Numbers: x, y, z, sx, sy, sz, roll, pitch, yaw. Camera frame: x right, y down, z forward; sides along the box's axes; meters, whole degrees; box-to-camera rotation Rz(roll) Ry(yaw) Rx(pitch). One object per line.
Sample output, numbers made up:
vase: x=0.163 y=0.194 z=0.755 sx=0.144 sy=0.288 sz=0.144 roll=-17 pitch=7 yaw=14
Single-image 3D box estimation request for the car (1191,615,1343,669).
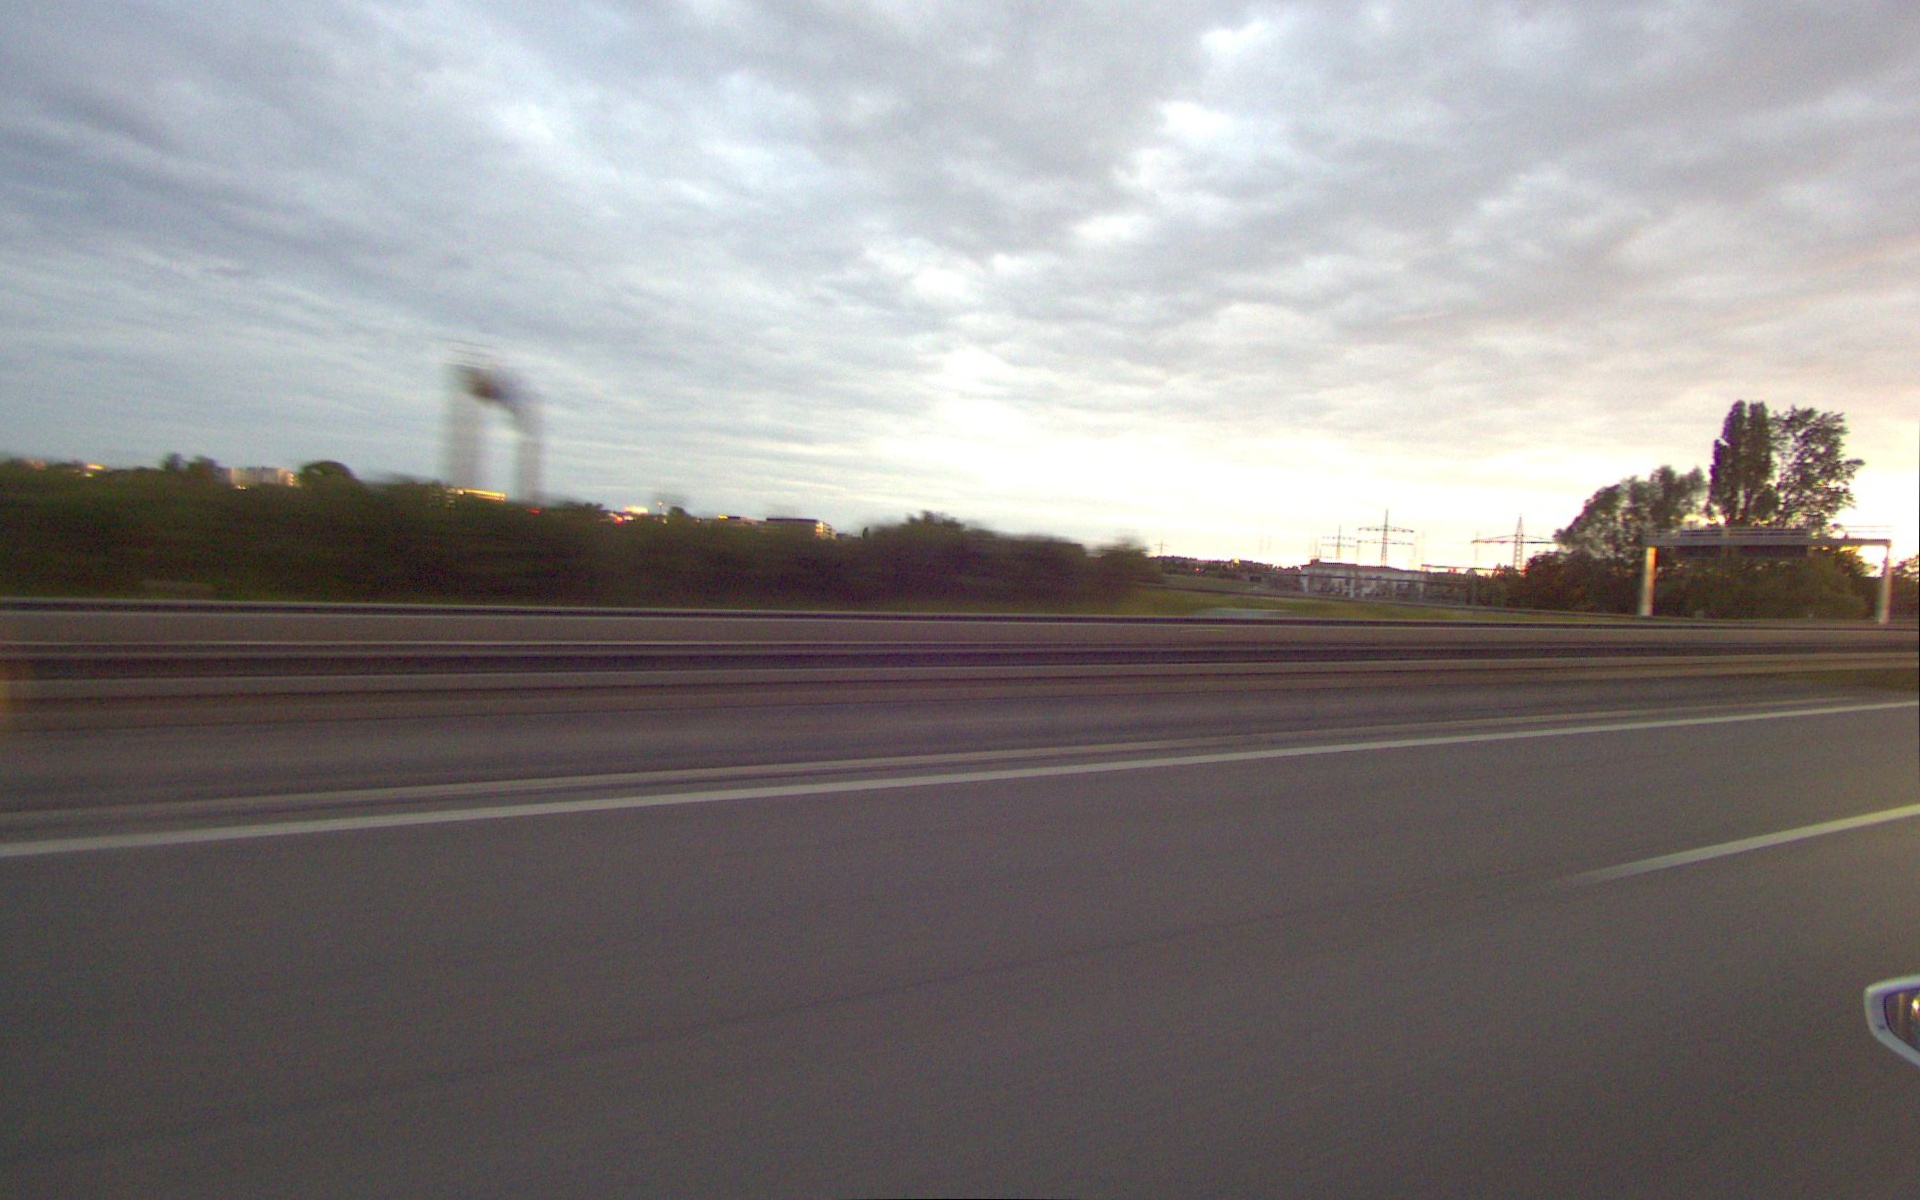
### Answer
car: x=9.221 y=1.243 z=30.142 sx=4.279 sy=1.422 sz=1.983 roll=2 pitch=1 yaw=-31
